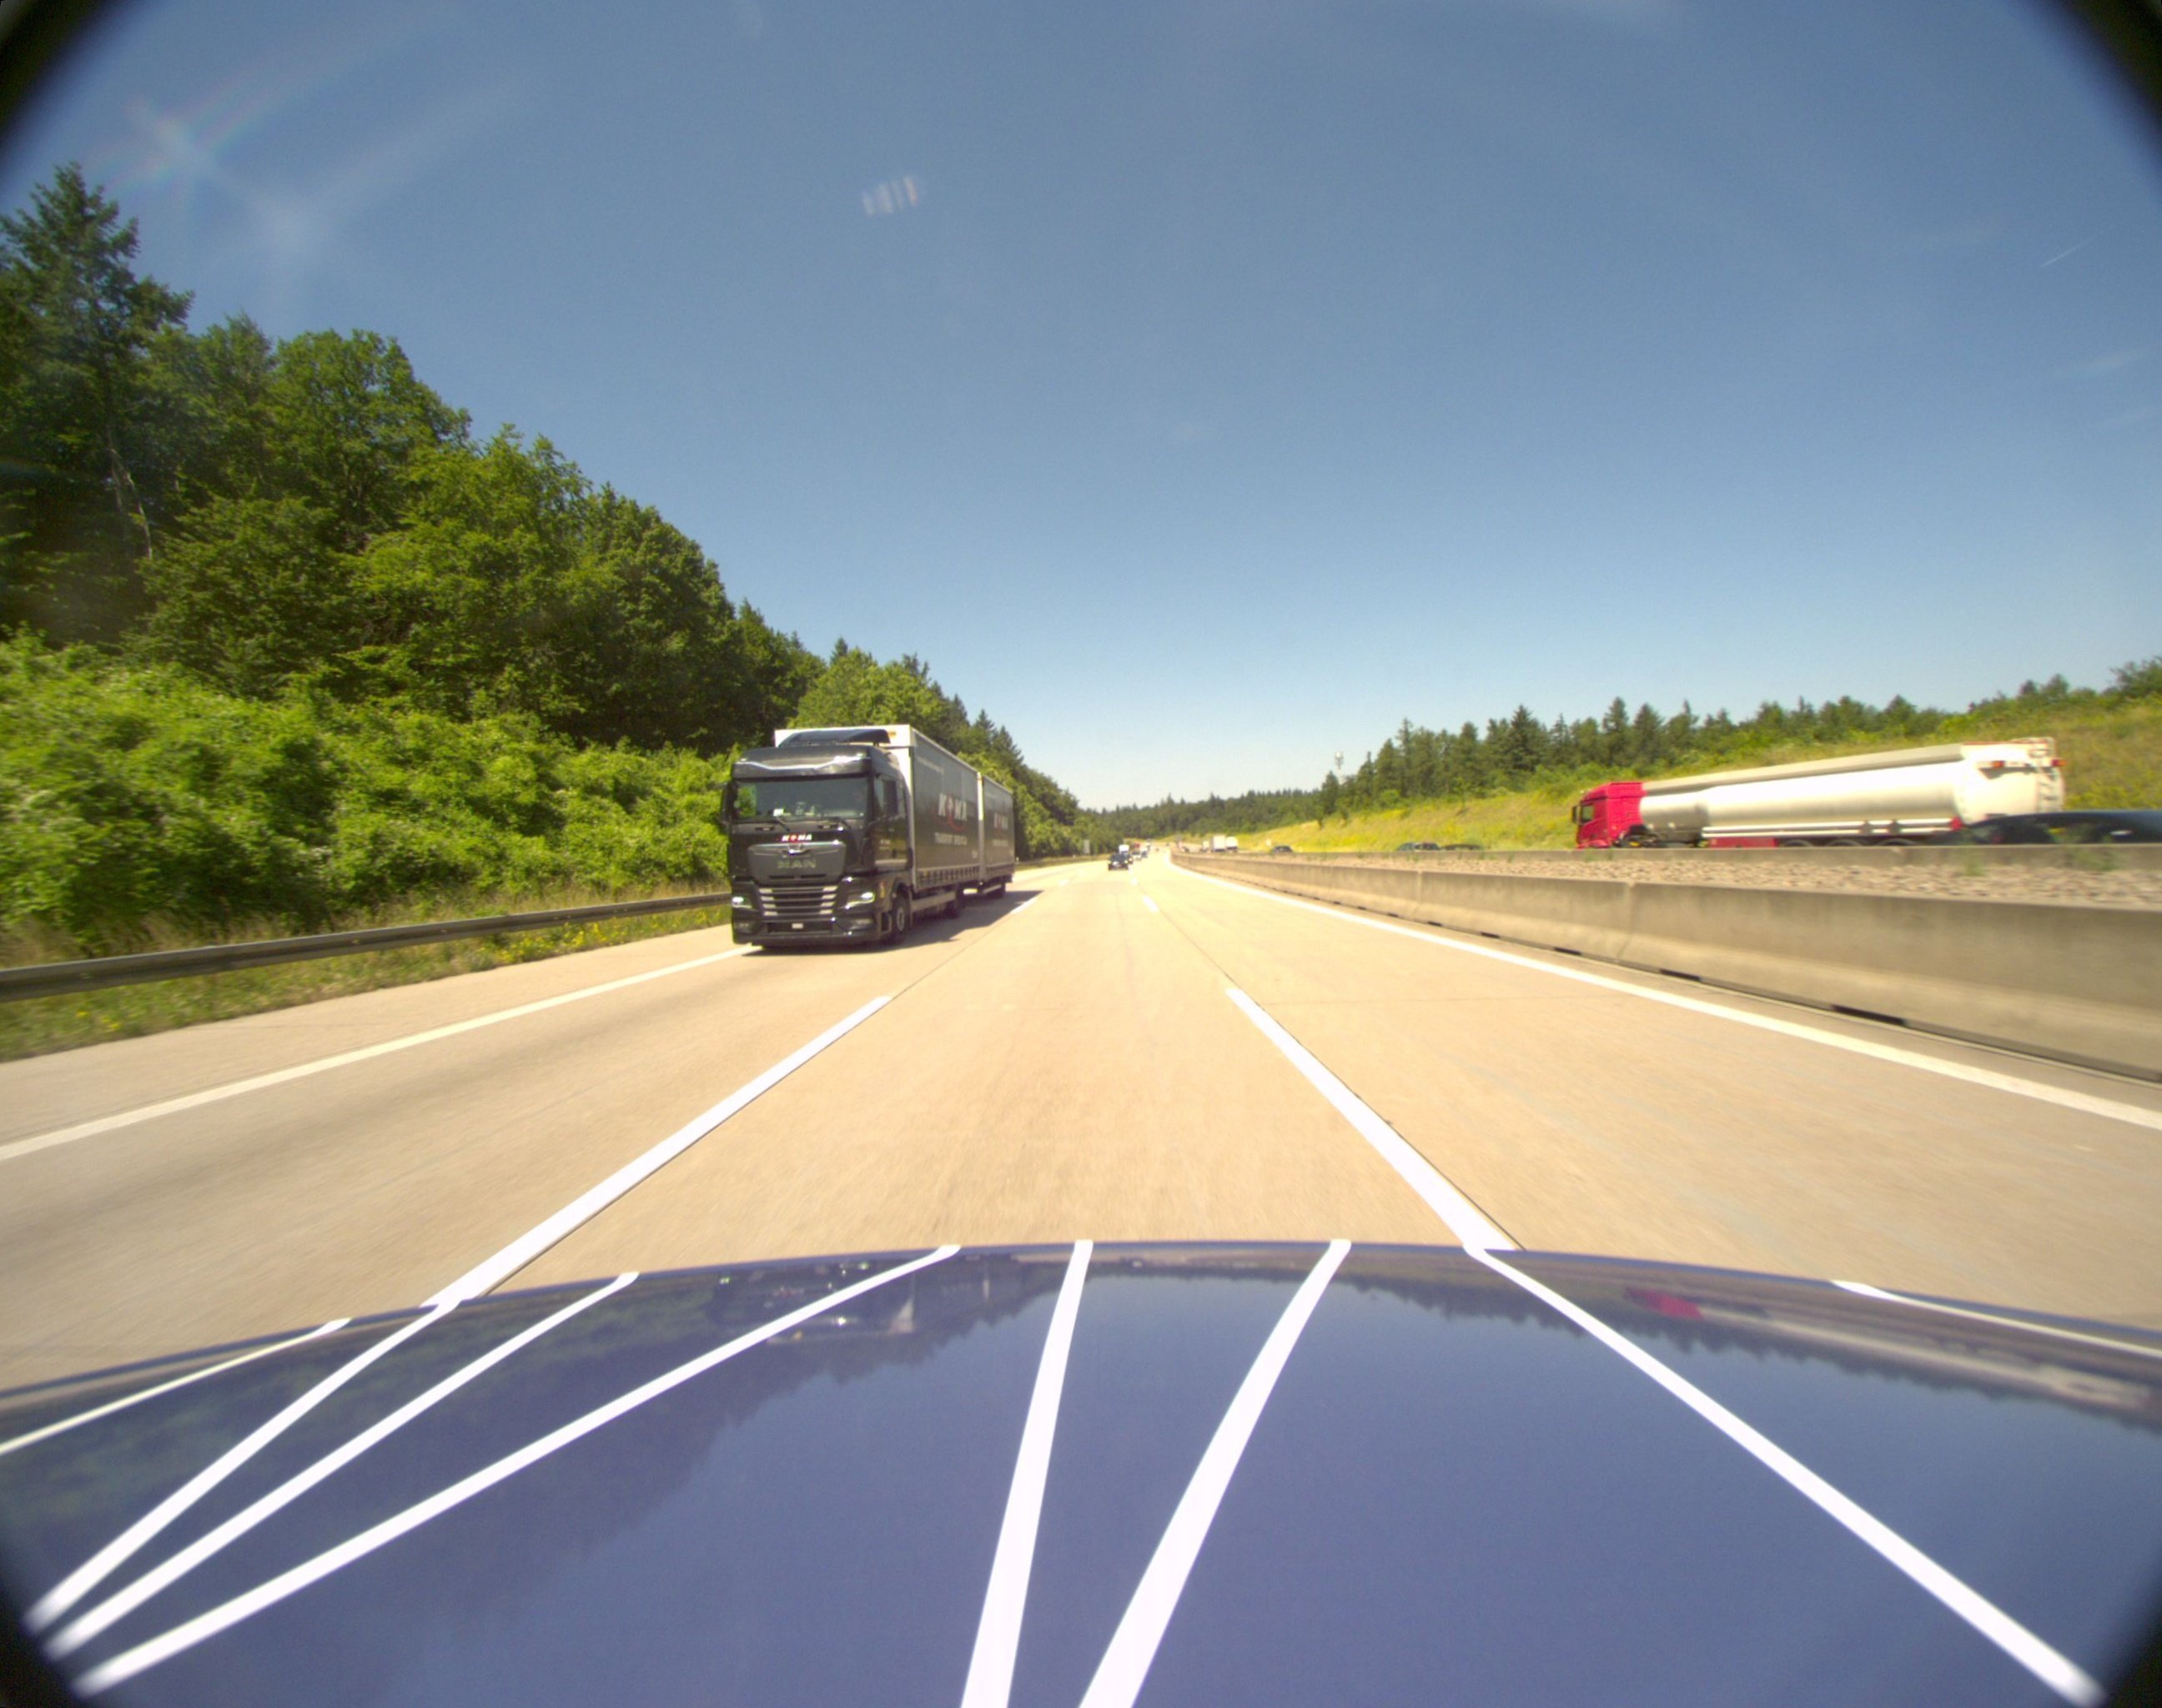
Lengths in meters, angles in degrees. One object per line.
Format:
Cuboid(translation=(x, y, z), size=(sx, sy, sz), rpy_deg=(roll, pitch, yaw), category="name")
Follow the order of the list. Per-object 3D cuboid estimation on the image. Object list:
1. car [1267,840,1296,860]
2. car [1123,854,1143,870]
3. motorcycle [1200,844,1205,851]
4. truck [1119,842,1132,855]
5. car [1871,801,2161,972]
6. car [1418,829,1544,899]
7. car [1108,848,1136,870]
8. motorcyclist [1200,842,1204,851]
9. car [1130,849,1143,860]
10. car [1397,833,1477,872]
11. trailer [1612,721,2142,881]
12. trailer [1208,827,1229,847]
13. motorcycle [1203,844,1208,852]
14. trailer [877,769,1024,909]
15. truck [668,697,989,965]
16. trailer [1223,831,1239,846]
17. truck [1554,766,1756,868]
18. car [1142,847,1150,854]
Cuboid(translation=(19.318, -0.414, 73.257), size=(1.824, 1.786, 4.000), rpy_deg=(-2, 0, 2), category="car")
Cuboid(translation=(6.581, 1.020, 95.840), size=(1.997, 1.694, 4.401), rpy_deg=(-5, 1, 8), category="car")
Cuboid(translation=(27.126, -1.450, 169.913), size=(1.010, 1.540, 2.484), rpy_deg=(-2, 0, 5), category="motorcycle")
Cuboid(translation=(10.833, -1.314, 184.497), size=(2.482, 2.779, 5.918), rpy_deg=(-5, 1, 8), category="truck")
Cuboid(translation=(12.932, 0.325, 9.466), size=(1.998, 1.893, 4.038), rpy_deg=(-2, 0, 1), category="car")
Cuboid(translation=(13.030, 0.273, 25.076), size=(1.998, 2.002, 3.999), rpy_deg=(-4, 1, 1), category="car")
Cuboid(translation=(3.672, 0.395, 67.544), size=(1.930, 1.694, 4.401), rpy_deg=(-5, 1, 8), category="car")
Cuboid(translation=(27.087, -1.620, 169.813), size=(0.820, 1.863, 1.492), rpy_deg=(-2, 1, 5), category="motorcyclist")
Cuboid(translation=(9.350, 0.073, 128.915), size=(1.998, 1.694, 4.400), rpy_deg=(-5, 1, 4), category="car")
Cuboid(translation=(16.919, -0.086, 36.345), size=(1.998, 1.707, 4.000), rpy_deg=(-1, 1, 1), category="car")
Cuboid(translation=(21.039, -1.188, 22.047), size=(2.941, 3.196, 11.830), rpy_deg=(-4, 1, 1), category="trailer")
Cuboid(translation=(29.359, -3.669, 162.744), size=(3.167, 3.909, 13.871), rpy_deg=(-4, 1, 7), category="trailer")
Cuboid(translation=(23.653, -1.141, 144.137), size=(0.826, 1.364, 2.358), rpy_deg=(-2, 0, 5), category="motorcycle")
Cuboid(translation=(-4.164, -0.476, 26.866), size=(3.142, 3.993, 9.088), rpy_deg=(-2, 0, 2), category="trailer")
Cuboid(translation=(-4.521, -0.381, 16.986), size=(3.167, 3.993, 10.607), rpy_deg=(-2, 0, 2), category="truck")
Cuboid(translation=(35.055, -3.640, 178.203), size=(2.731, 3.393, 8.958), rpy_deg=(-4, 1, 6), category="trailer")
Cuboid(translation=(21.090, -1.266, 28.433), size=(2.941, 3.196, 5.904), rpy_deg=(-4, 1, 1), category="truck")
Cuboid(translation=(16.105, -0.775, 187.504), size=(1.841, 1.547, 4.001), rpy_deg=(-4, 1, 7), category="car")
